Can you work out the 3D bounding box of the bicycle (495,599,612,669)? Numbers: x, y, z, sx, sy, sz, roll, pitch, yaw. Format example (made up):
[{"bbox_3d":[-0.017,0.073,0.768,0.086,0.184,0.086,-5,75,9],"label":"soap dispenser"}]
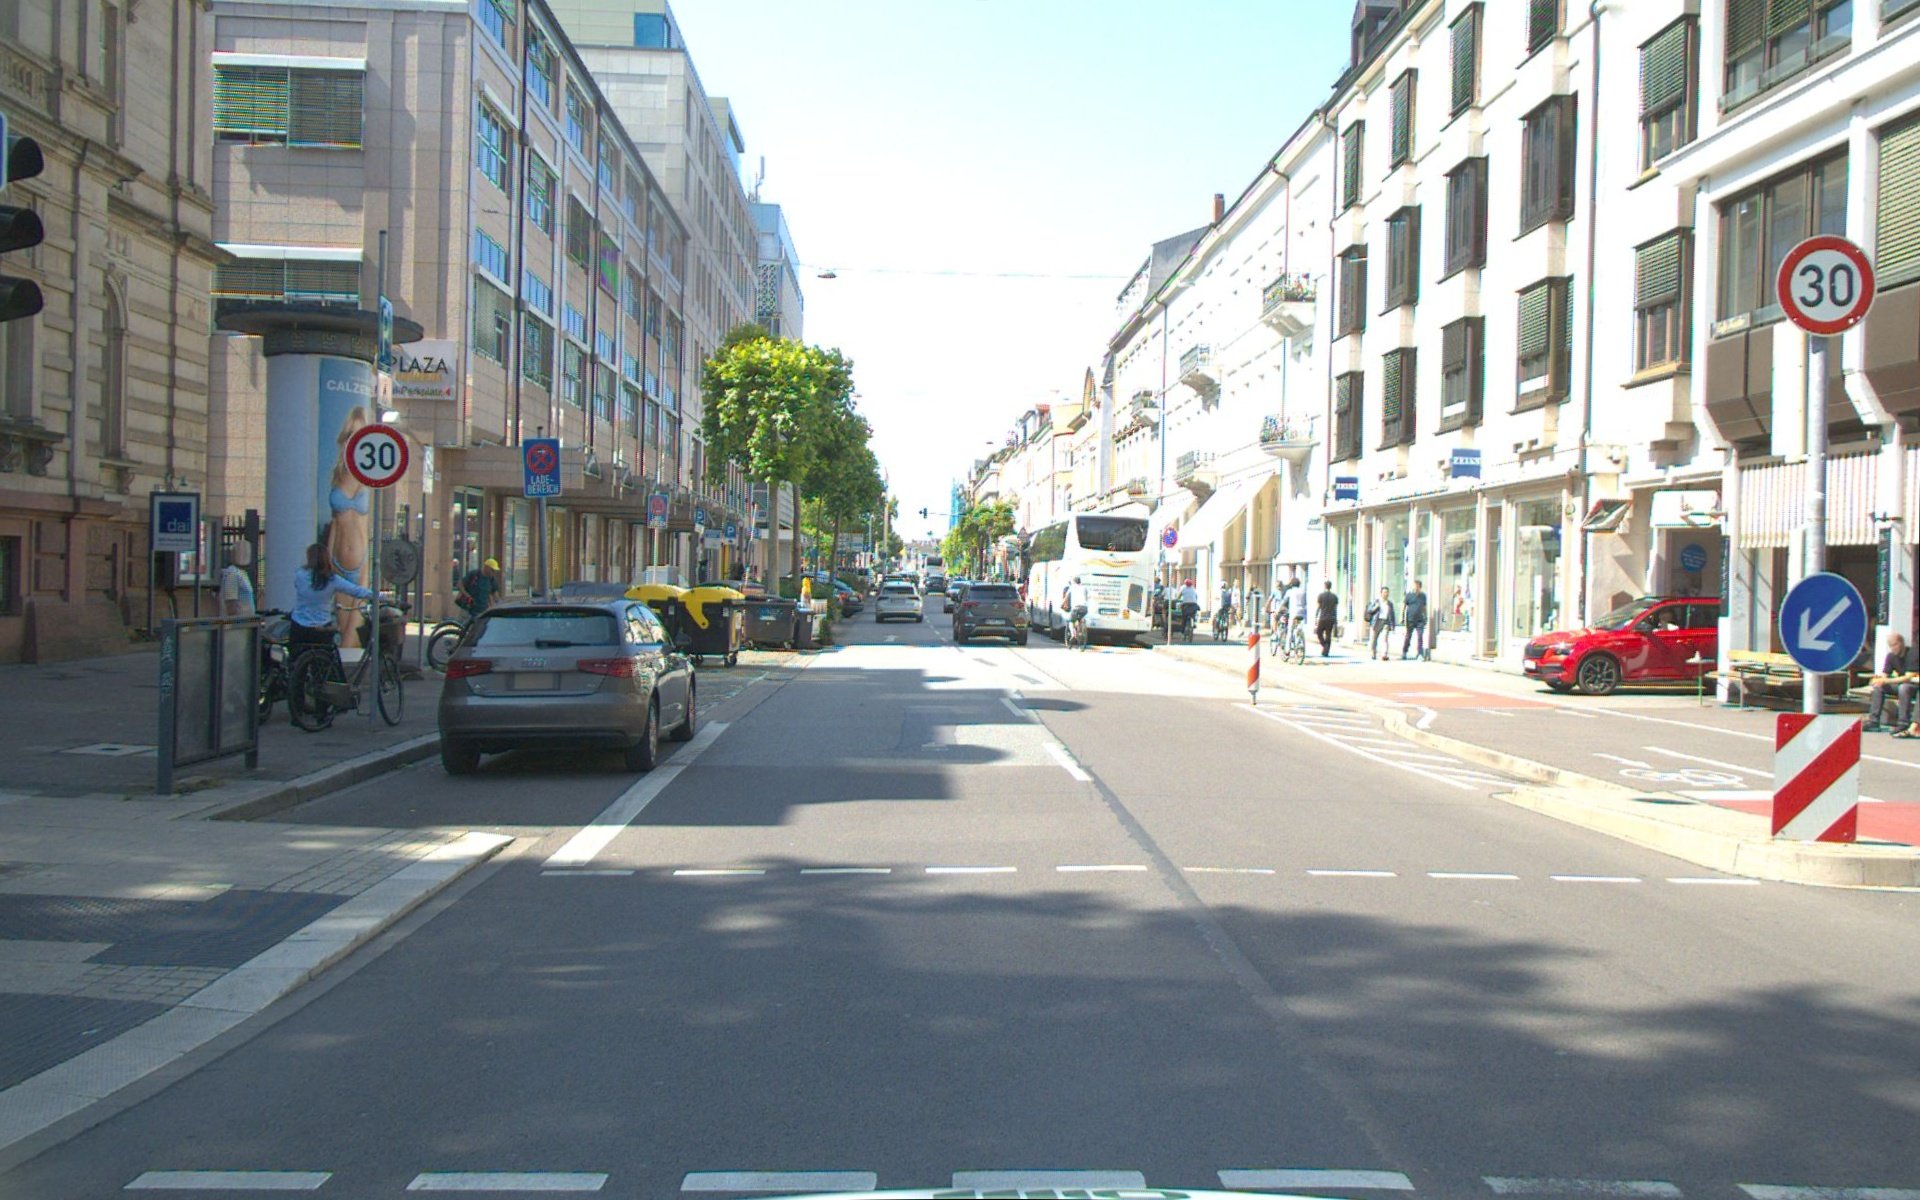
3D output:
[{"bbox_3d":[-7.292,0.609,29.738,1.936,1.140,0.508,3,-1,-6],"label":"bicycle"}]

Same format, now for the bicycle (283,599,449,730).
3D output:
[{"bbox_3d":[-5.636,0.598,15.841,0.420,1.140,2.245,3,-1,9],"label":"bicycle"}]

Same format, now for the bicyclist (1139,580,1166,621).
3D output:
[{"bbox_3d":[6.755,0.003,58.062,0.771,1.403,0.722,1,0,-4],"label":"bicyclist"}]

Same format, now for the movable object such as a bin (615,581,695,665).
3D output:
[{"bbox_3d":[-5.730,0.414,31.192,1.100,1.476,1.439,3,2,4],"label":"movable object such as a bin"}]

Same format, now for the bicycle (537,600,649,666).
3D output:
[{"bbox_3d":[-6.732,0.601,30.399,1.929,1.140,0.508,2,-1,-6],"label":"bicycle"}]

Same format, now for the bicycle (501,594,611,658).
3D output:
[{"bbox_3d":[-7.095,0.459,29.100,1.808,1.092,0.556,-1,-2,-6],"label":"bicycle"}]

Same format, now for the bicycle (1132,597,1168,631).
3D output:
[{"bbox_3d":[6.710,0.484,58.466,0.821,1.118,2.351,1,0,-4],"label":"bicycle"}]

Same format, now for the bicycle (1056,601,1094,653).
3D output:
[{"bbox_3d":[2.834,0.653,40.934,0.651,1.140,2.243,3,1,-2],"label":"bicycle"}]

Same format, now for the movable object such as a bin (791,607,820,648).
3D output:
[{"bbox_3d":[-3.682,0.656,39.425,0.547,0.955,0.496,-1,1,-28],"label":"movable object such as a bin"}]

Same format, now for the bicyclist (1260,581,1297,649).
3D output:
[{"bbox_3d":[7.422,0.338,38.534,0.608,1.556,0.868,2,0,-4],"label":"bicyclist"}]

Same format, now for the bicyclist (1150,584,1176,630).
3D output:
[{"bbox_3d":[6.283,0.209,51.214,0.608,1.394,0.780,2,0,-4],"label":"bicyclist"}]

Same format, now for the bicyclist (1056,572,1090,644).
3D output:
[{"bbox_3d":[2.786,0.183,40.808,0.680,1.702,0.915,3,1,-1],"label":"bicyclist"}]

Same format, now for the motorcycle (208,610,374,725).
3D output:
[{"bbox_3d":[-6.452,0.618,16.079,0.444,1.015,2.162,3,0,7],"label":"motorcycle"}]

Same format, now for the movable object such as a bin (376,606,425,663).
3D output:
[{"bbox_3d":[-8.805,0.546,26.035,0.642,0.891,0.510,1,-2,-10],"label":"movable object such as a bin"}]

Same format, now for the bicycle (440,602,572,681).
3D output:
[{"bbox_3d":[-7.146,0.652,26.110,1.926,1.140,0.555,3,-1,-14],"label":"bicycle"}]

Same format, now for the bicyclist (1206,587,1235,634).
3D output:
[{"bbox_3d":[7.517,0.306,47.740,0.608,1.319,0.866,2,0,-4],"label":"bicyclist"}]

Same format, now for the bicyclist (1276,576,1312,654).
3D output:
[{"bbox_3d":[7.192,0.319,35.656,0.679,1.654,0.836,1,0,7],"label":"bicyclist"}]

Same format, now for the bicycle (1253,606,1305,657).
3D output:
[{"bbox_3d":[7.412,0.711,38.538,0.608,1.118,2.351,2,0,-4],"label":"bicycle"}]

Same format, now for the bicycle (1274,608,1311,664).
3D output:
[{"bbox_3d":[7.194,0.765,35.833,0.582,1.140,1.802,1,1,6],"label":"bicycle"}]

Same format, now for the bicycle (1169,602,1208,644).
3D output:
[{"bbox_3d":[6.497,0.639,47.159,0.608,1.118,2.351,2,0,-4],"label":"bicycle"}]

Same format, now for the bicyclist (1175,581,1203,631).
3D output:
[{"bbox_3d":[6.516,0.154,47.083,0.608,1.394,0.780,2,0,-4],"label":"bicyclist"}]

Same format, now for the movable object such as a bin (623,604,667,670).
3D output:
[{"bbox_3d":[-5.646,0.662,29.678,0.709,1.117,0.655,2,1,-10],"label":"movable object such as a bin"}]

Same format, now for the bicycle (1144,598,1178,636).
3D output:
[{"bbox_3d":[6.247,0.507,51.431,0.608,1.118,2.351,2,0,-4],"label":"bicycle"}]

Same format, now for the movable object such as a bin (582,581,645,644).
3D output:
[{"bbox_3d":[-7.866,0.270,37.591,1.184,1.322,1.127,3,1,-2],"label":"movable object such as a bin"}]

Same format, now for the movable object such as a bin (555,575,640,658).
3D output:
[{"bbox_3d":[-6.859,0.298,31.382,1.183,1.476,1.365,3,1,4],"label":"movable object such as a bin"}]

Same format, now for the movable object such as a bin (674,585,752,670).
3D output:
[{"bbox_3d":[-4.629,0.497,31.131,1.100,1.476,1.439,3,2,4],"label":"movable object such as a bin"}]

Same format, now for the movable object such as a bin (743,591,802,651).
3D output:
[{"bbox_3d":[-4.284,0.466,37.867,1.251,1.322,0.853,1,0,-2],"label":"movable object such as a bin"}]

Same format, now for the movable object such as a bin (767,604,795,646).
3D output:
[{"bbox_3d":[-4.239,0.588,39.155,0.488,0.955,0.556,0,1,14],"label":"movable object such as a bin"}]

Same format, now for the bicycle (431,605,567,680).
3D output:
[{"bbox_3d":[-7.056,0.653,25.392,1.929,1.035,0.669,3,-1,-14],"label":"bicycle"}]

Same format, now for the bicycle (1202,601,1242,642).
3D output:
[{"bbox_3d":[7.519,0.604,47.595,0.608,1.118,2.351,2,0,-4],"label":"bicycle"}]

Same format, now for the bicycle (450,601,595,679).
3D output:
[{"bbox_3d":[-7.060,0.653,26.770,2.197,1.140,0.555,3,-1,-14],"label":"bicycle"}]
